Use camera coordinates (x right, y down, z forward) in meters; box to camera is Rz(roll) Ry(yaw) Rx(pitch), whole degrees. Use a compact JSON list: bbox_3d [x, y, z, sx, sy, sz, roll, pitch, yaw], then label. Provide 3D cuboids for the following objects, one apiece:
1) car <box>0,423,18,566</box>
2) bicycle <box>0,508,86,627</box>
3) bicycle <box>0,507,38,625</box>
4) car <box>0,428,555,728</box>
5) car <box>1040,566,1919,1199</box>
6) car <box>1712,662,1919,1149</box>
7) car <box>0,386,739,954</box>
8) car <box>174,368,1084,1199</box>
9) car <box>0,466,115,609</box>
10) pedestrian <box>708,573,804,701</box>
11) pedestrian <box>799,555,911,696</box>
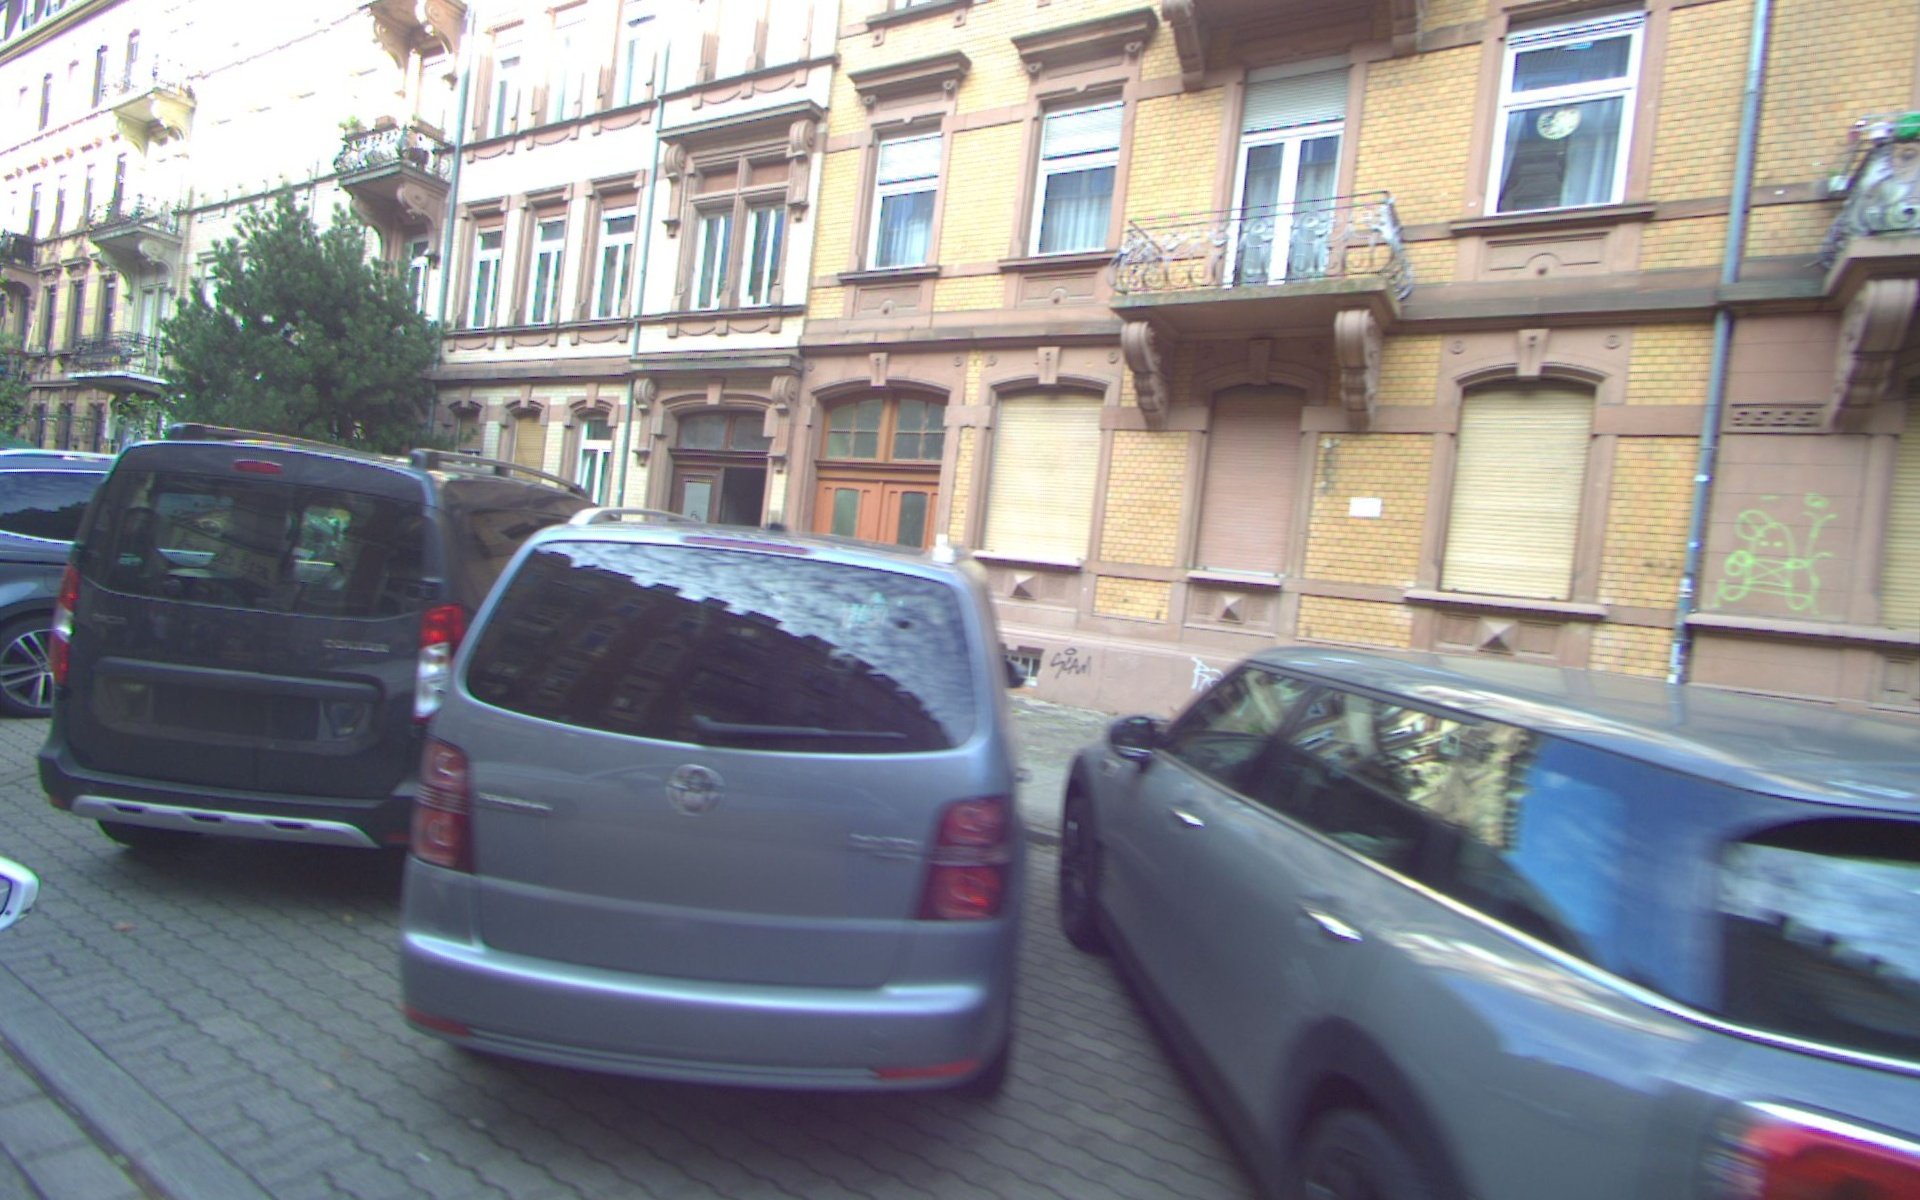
[{"bbox_3d":[-17.376,-1.892,14.891,1.883,2.436,5.156,6,1,-1],"label":"car"},{"bbox_3d":[-10.646,-0.417,10.957,1.833,1.197,0.405,6,2,0],"label":"bicycle"},{"bbox_3d":[-10.706,-0.448,10.407,1.882,1.197,0.405,6,2,0],"label":"bicycle"},{"bbox_3d":[-5.778,-0.201,7.823,1.779,1.809,4.637,9,4,30],"label":"car"},{"bbox_3d":[1.550,0.797,3.059,1.836,1.569,3.993,6,2,-5],"label":"car"},{"bbox_3d":[3.955,1.134,2.052,1.703,1.470,3.995,5,2,0],"label":"car"},{"bbox_3d":[-2.692,0.201,5.719,1.722,1.846,4.400,6,2,0],"label":"car"},{"bbox_3d":[-0.684,0.464,4.155,1.805,1.763,3.998,6,1,1],"label":"car"},{"bbox_3d":[-12.742,-0.897,11.744,1.964,1.753,4.456,8,-1,-3],"label":"car"},{"bbox_3d":[-2.133,0.379,10.537,0.662,1.236,0.600,7,4,32],"label":"pedestrian"},{"bbox_3d":[-1.226,0.294,11.837,0.798,1.516,0.929,7,2,25],"label":"pedestrian"}]
